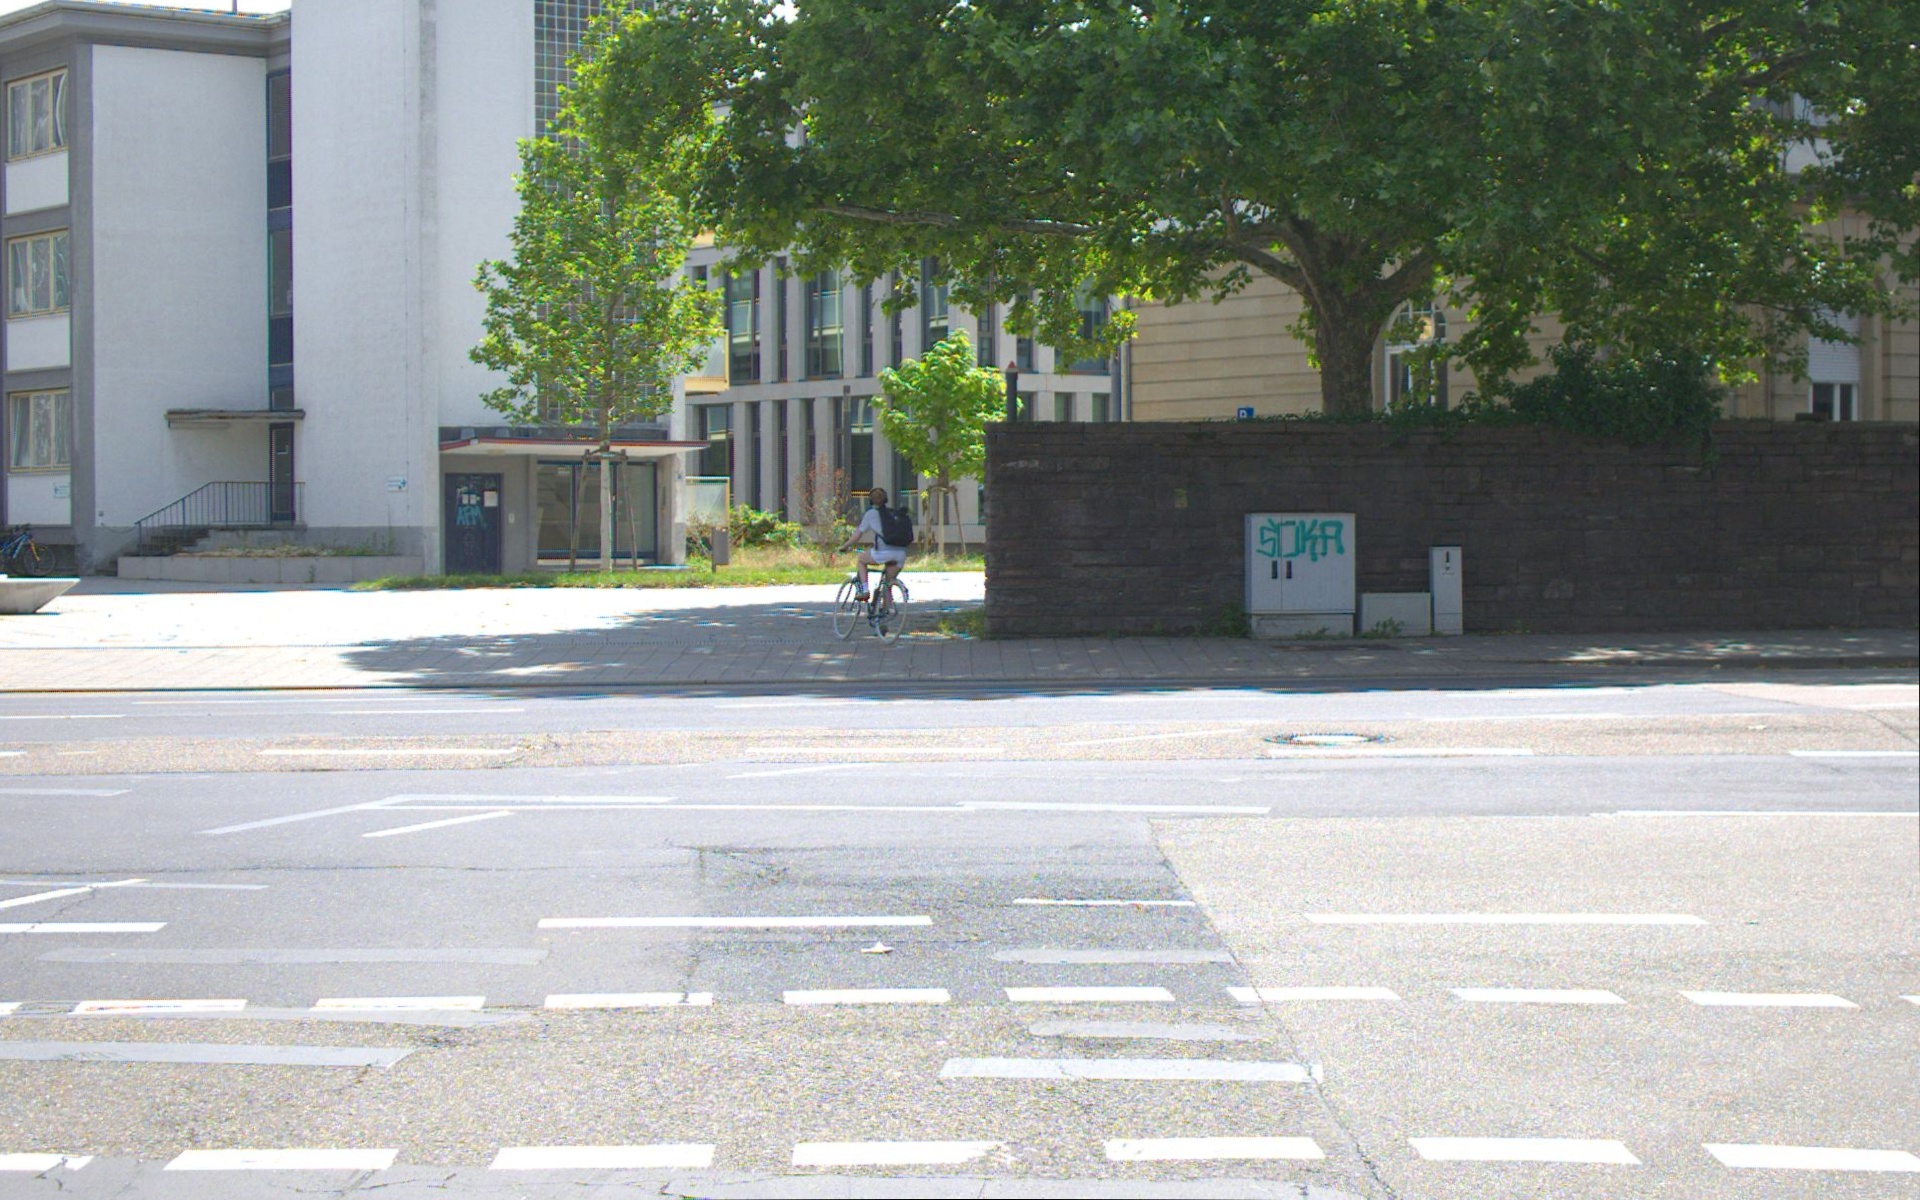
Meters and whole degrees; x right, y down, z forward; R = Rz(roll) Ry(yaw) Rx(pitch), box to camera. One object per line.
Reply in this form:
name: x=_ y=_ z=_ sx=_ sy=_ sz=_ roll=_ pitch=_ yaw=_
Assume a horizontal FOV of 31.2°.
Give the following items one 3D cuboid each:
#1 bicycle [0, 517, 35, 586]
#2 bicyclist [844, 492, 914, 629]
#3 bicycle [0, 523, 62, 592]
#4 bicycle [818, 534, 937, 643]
bicycle: x=-20.065 y=-0.973 z=68.488 sx=2.957 sy=1.359 sz=1.116 roll=0 pitch=1 yaw=-41
bicyclist: x=-0.874 y=-0.430 z=36.802 sx=0.514 sy=1.447 sz=0.787 roll=-1 pitch=1 yaw=-21
bicycle: x=-19.242 y=-0.842 z=67.443 sx=2.957 sy=1.359 sz=1.116 roll=0 pitch=1 yaw=-41
bicycle: x=-0.895 y=-0.143 z=36.839 sx=0.550 sy=1.127 sz=2.175 roll=-1 pitch=1 yaw=-22
